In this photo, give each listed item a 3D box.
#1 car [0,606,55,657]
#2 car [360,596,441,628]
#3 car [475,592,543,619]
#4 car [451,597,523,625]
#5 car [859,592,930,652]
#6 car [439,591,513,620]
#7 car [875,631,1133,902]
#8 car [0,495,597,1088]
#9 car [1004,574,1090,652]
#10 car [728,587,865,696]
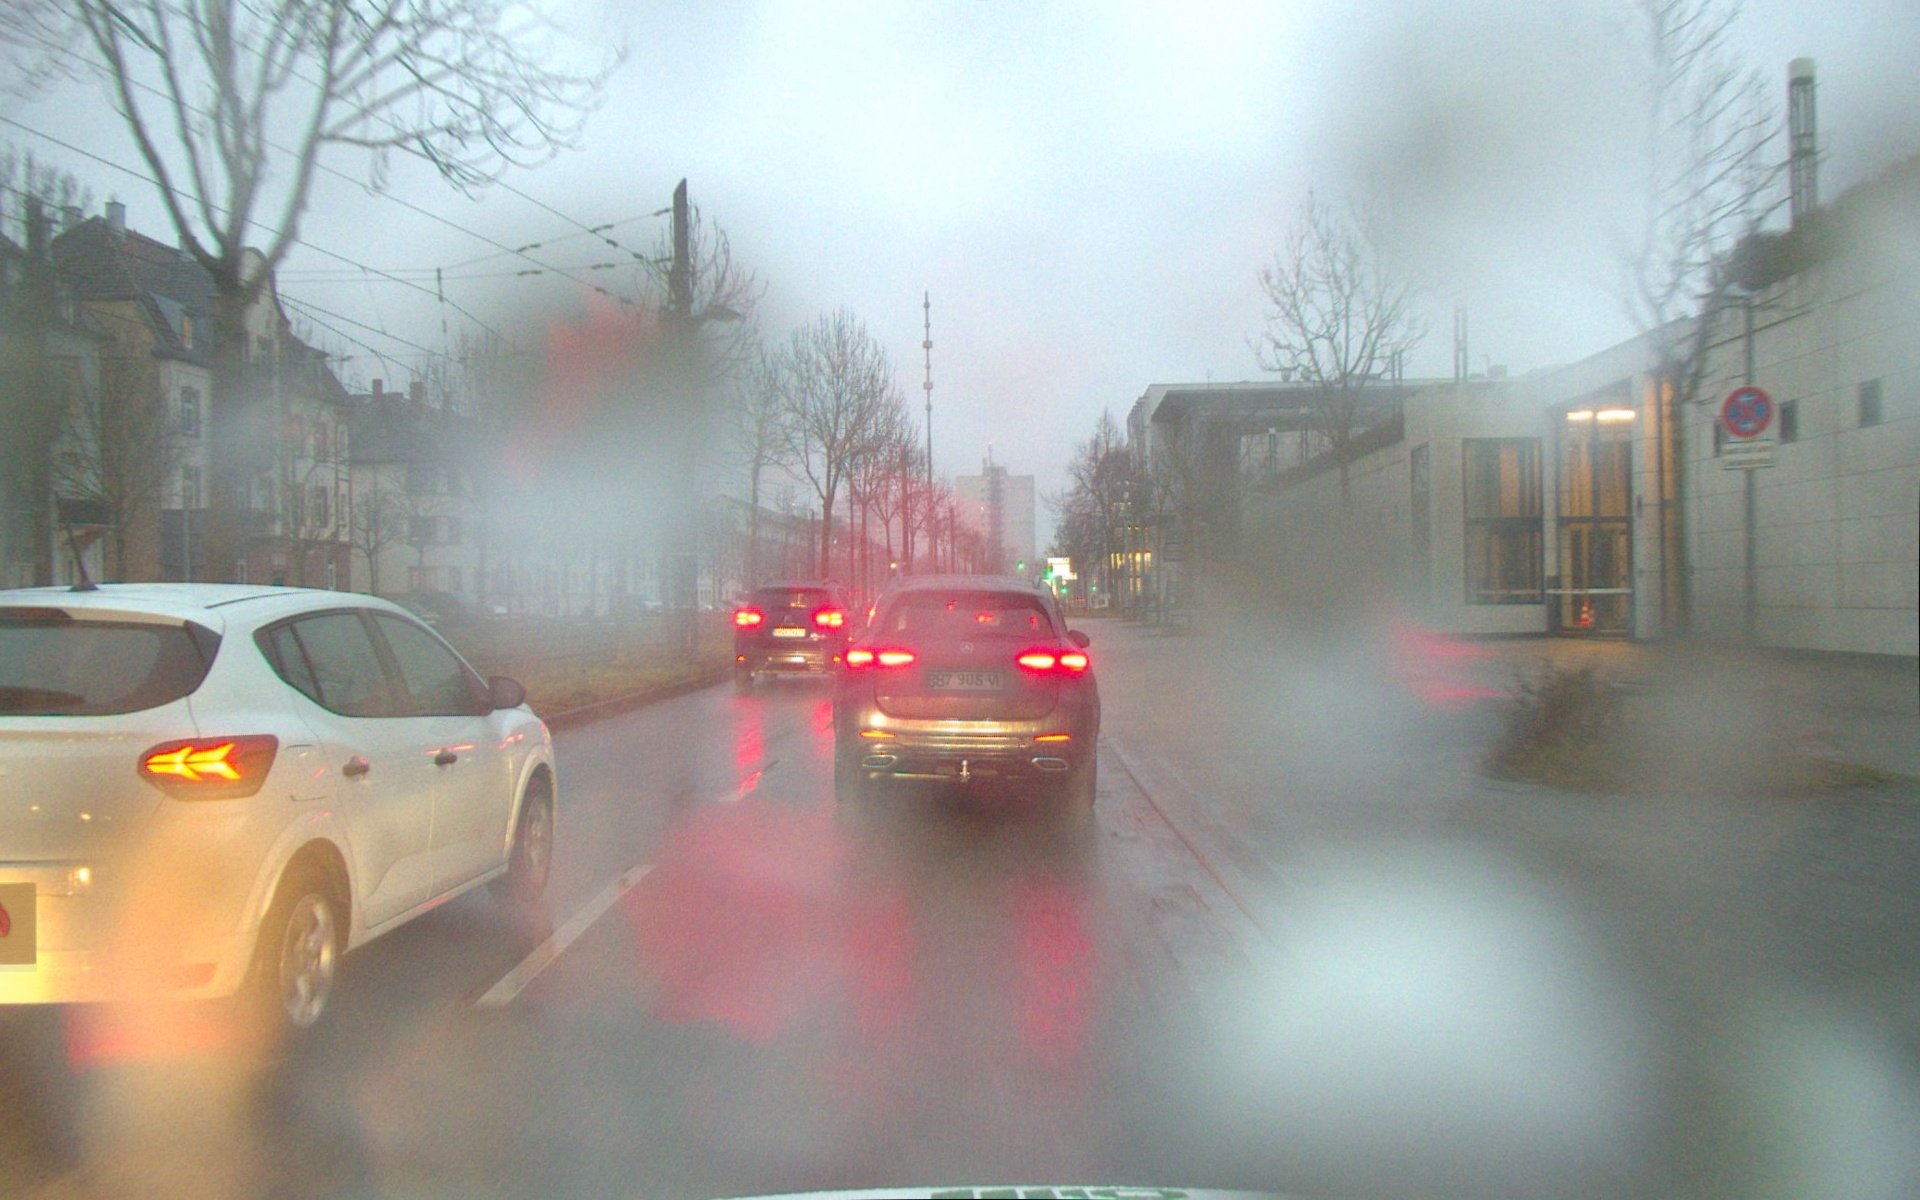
[{"bbox_3d":[-27.900,0.918,47.516,1.739,1.378,3.558,-1,1,2],"label":"car"},{"bbox_3d":[-25.235,0.534,74.529,3.485,1.378,1.775,-1,1,36],"label":"car"},{"bbox_3d":[-24.255,0.309,88.945,3.485,1.378,1.775,-1,1,36],"label":"car"},{"bbox_3d":[-24.366,0.561,85.195,3.485,1.378,1.775,-1,1,36],"label":"car"},{"bbox_3d":[-1.813,0.588,46.590,1.637,1.628,4.055,0,0,3],"label":"car"},{"bbox_3d":[-24.109,0.285,82.292,3.485,1.378,1.775,-1,1,36],"label":"car"},{"bbox_3d":[0.376,1.095,12.548,1.637,1.628,4.055,0,0,3],"label":"car"},{"bbox_3d":[-2.724,0.521,6.568,1.637,1.628,4.053,0,0,0],"label":"car"},{"bbox_3d":[2.117,0.286,40.344,1.952,1.774,4.002,-1,0,3],"label":"car"},{"bbox_3d":[-2.574,0.618,26.887,1.637,1.628,4.055,0,0,3],"label":"car"}]
